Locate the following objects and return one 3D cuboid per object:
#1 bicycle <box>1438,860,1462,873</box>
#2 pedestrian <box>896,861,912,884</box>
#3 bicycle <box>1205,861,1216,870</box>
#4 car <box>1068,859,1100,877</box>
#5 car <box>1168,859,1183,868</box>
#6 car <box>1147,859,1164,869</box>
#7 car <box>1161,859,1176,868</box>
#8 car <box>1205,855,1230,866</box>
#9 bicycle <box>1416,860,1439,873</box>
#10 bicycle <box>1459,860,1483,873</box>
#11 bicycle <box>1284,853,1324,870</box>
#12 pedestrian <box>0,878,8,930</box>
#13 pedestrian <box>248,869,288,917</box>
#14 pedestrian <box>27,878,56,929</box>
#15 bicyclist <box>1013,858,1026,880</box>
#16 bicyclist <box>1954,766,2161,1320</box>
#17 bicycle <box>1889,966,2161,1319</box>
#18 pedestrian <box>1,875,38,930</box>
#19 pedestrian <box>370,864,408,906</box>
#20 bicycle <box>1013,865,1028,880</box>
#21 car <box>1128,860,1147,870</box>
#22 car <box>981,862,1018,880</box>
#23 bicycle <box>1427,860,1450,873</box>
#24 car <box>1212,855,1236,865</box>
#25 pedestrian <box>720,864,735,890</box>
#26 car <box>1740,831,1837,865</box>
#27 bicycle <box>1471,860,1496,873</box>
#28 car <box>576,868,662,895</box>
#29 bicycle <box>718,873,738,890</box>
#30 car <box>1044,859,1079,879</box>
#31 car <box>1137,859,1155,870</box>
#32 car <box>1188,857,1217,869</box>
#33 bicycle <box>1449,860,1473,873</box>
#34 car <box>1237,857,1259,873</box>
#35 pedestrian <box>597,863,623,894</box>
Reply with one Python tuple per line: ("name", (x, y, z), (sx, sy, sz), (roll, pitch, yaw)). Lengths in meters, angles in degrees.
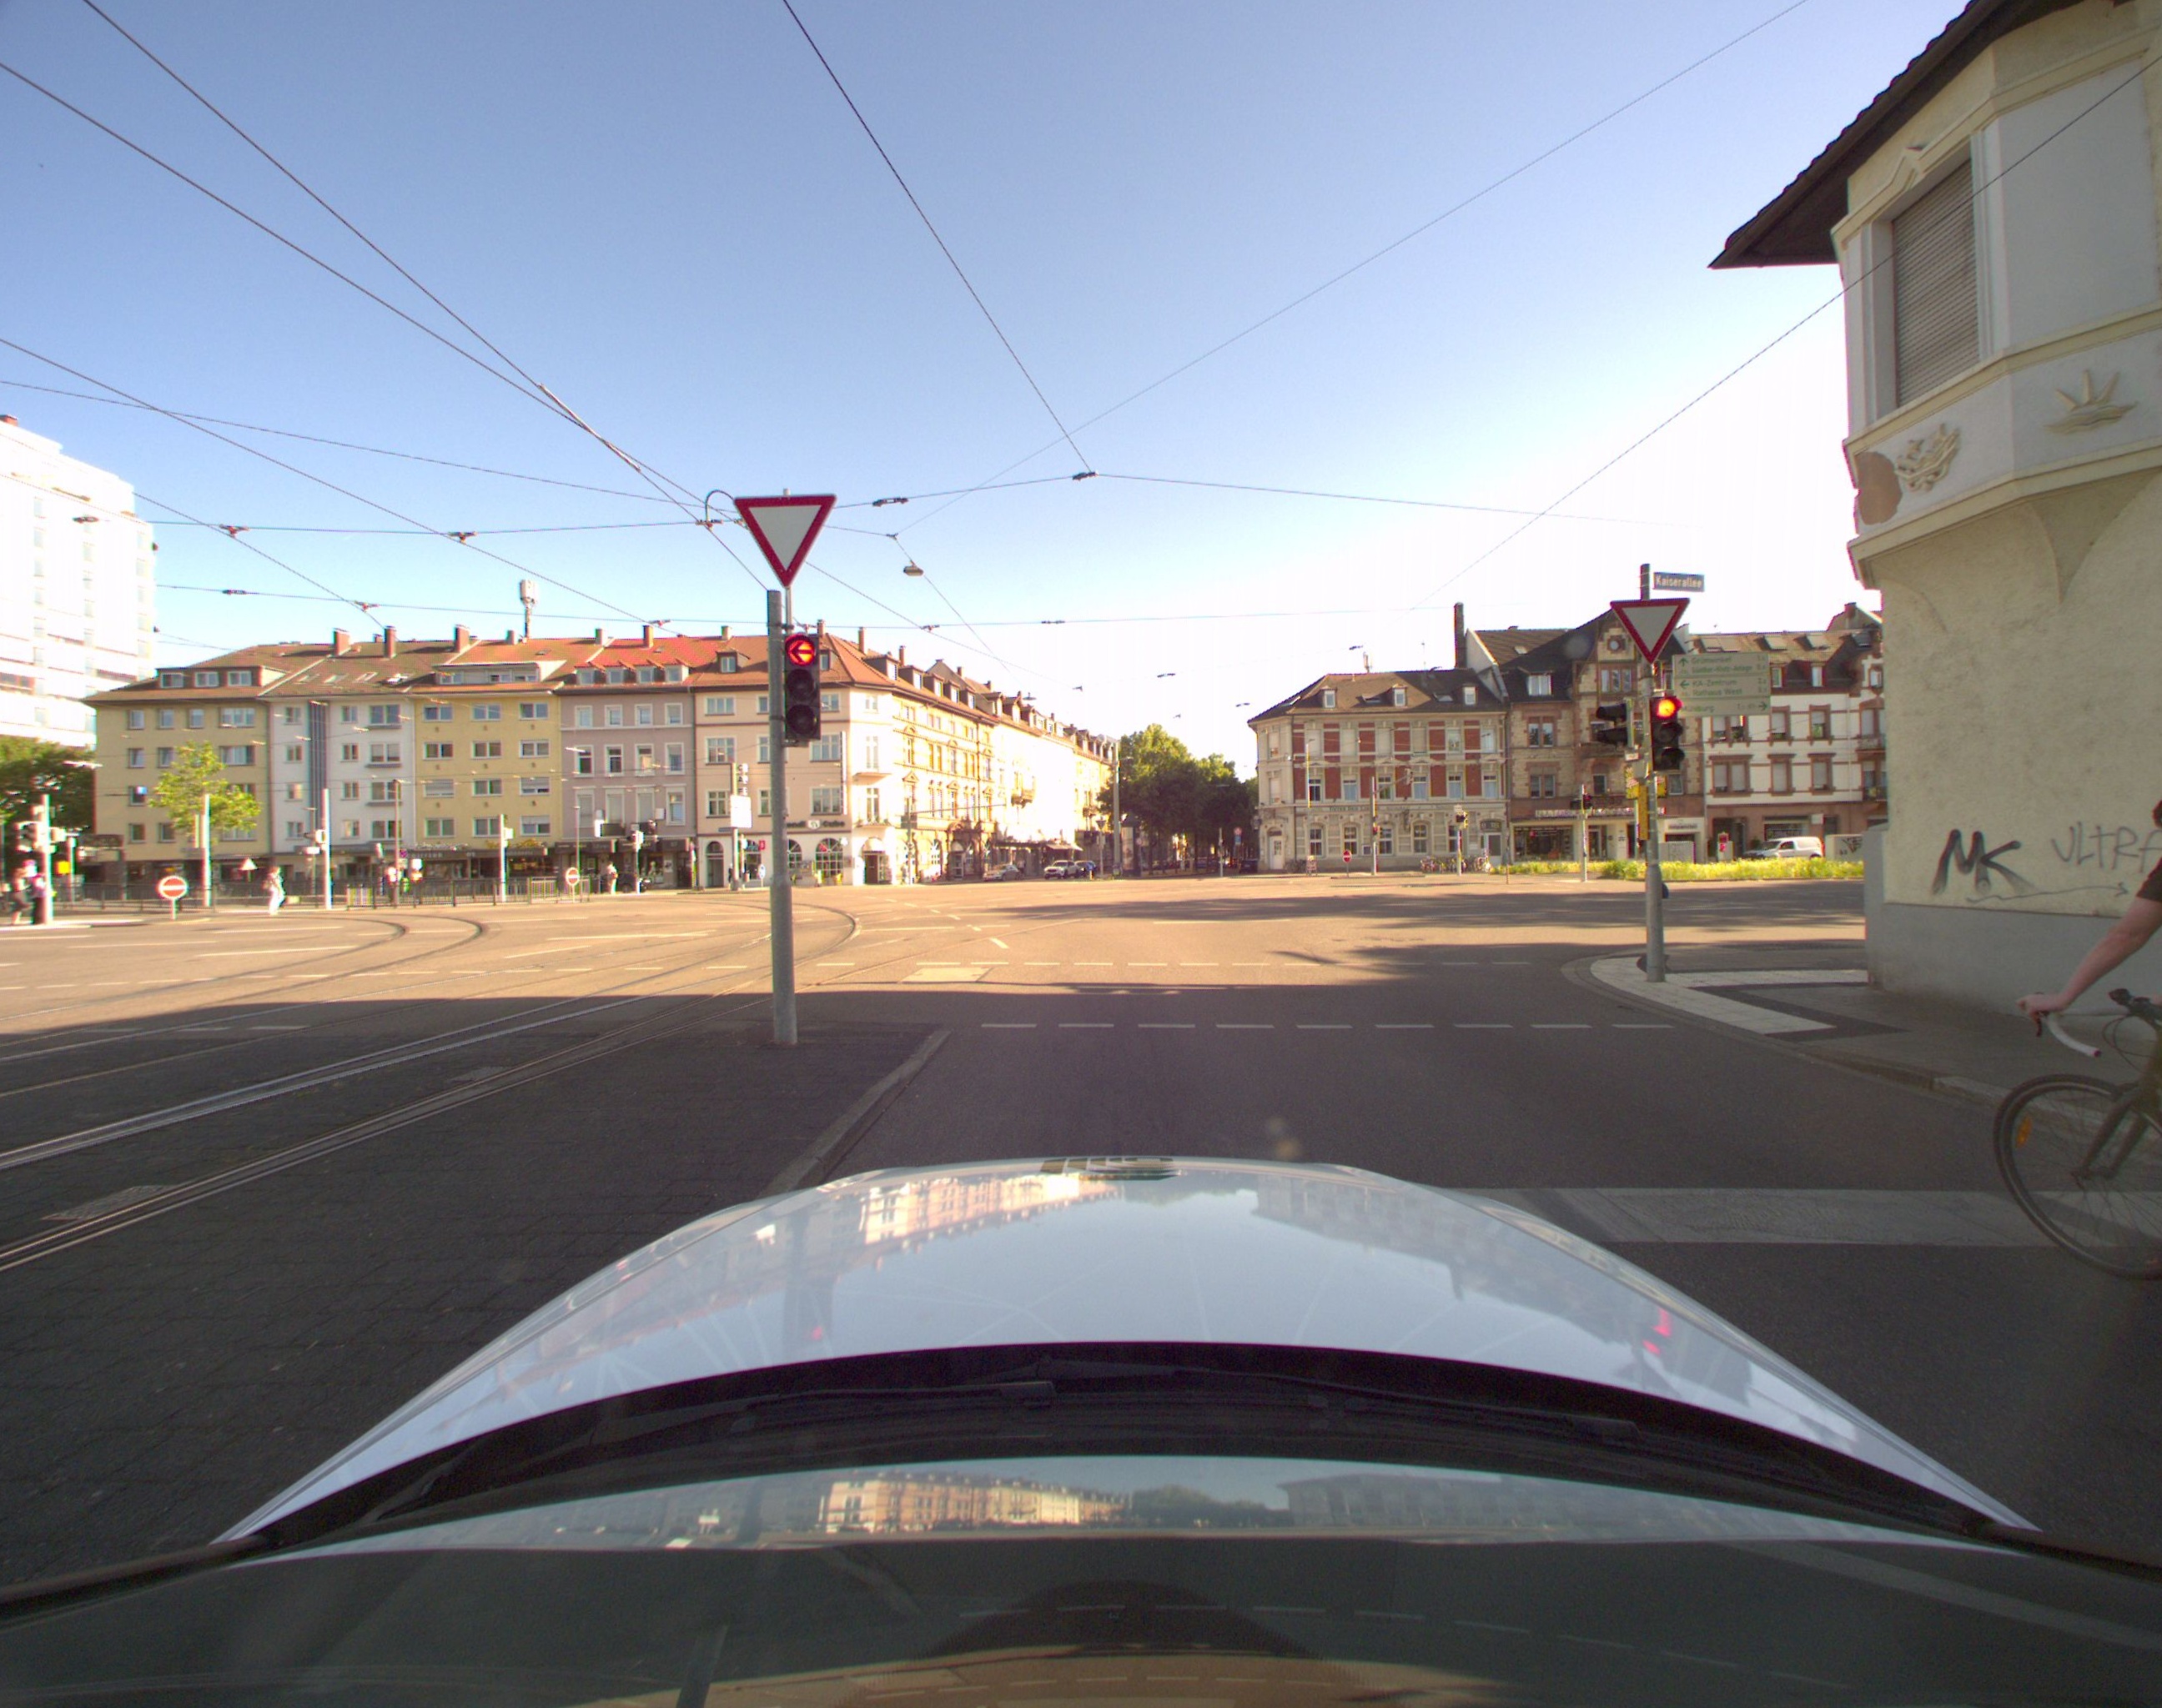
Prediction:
("bicycle", (23.893, 0.810, 52.749), (0.656, 0.840, 2.162), (0, -1, 3))
("pedestrian", (-12.817, 1.322, 58.923), (0.770, 1.670, 0.834), (-1, -1, 17))
("bicycle", (15.775, 1.387, 99.287), (0.636, 1.021, 1.839), (0, -1, -12))
("car", (0.315, 1.239, 73.776), (1.664, 1.483, 3.967), (-2, 0, 19))
("car", (15.724, 1.516, 135.609), (1.664, 1.354, 3.608), (-2, 0, 19))
("car", (11.247, 1.494, 122.371), (1.664, 1.354, 3.608), (-2, 0, 19))
("car", (14.038, 1.497, 130.616), (1.664, 1.354, 3.608), (-2, 0, 19))
("car", (21.453, 1.053, 127.729), (3.549, 1.648, 1.691), (-2, 0, 19))
("bicycle", (22.434, 0.821, 52.705), (0.656, 0.840, 2.162), (0, -1, 3))
("bicycle", (25.213, 0.800, 52.711), (0.656, 0.840, 2.162), (0, -1, 3))
("bicycle", (15.612, 0.497, 57.067), (2.547, 1.174, 0.818), (0, -1, -1))
("pedestrian", (-35.092, 1.613, 26.102), (0.753, 1.679, 0.561), (-2, 0, 11))
("pedestrian", (-27.696, 1.306, 27.735), (0.545, 1.577, 0.838), (-1, -1, 29))
("pedestrian", (-31.905, 1.500, 24.996), (0.456, 1.505, 0.485), (-1, 1, 38))
("bicyclist", (-4.933, 1.207, 65.421), (0.772, 1.803, 1.060), (-1, -1, 16))
("bicyclist", (3.586, 0.575, 2.507), (0.570, 1.701, 1.117), (-1, 0, 2))
("bicycle", (3.611, 0.957, 2.516), (0.516, 0.970, 1.750), (-1, 0, 2))
("pedestrian", (-32.910, 1.500, 25.245), (0.456, 1.644, 0.643), (-1, 1, 38))
("pedestrian", (-26.657, 1.176, 31.379), (0.720, 1.577, 0.836), (-1, -1, 11))
("bicycle", (-4.886, 1.482, 65.541), (0.696, 1.118, 1.642), (-1, -1, 16))
("car", (7.704, 1.485, 111.330), (1.664, 1.354, 3.608), (-2, 0, 19))
("car", (-6.702, 1.423, 67.232), (1.664, 1.354, 3.608), (-2, 0, 19))
("bicycle", (23.169, 0.816, 52.763), (0.656, 0.840, 2.162), (0, -1, 3))
("car", (23.359, 0.960, 133.162), (3.549, 1.648, 1.691), (-2, 0, 19))
("pedestrian", (-22.975, 1.505, 52.949), (0.580, 1.670, 0.753), (0, -1, 2))
("car", (45.451, -0.388, 52.411), (4.406, 2.013, 2.002), (-1, 0, 4))
("bicycle", (26.017, 0.794, 52.725), (0.656, 0.840, 2.162), (0, -1, 3))
("car", (-30.357, 1.790, 53.642), (4.347, 1.711, 2.308), (0, -1, 4))
("bicycle", (-22.973, 1.800, 52.987), (0.570, 1.077, 1.497), (0, -1, 2))
("car", (-1.597, 1.212, 67.517), (1.664, 1.483, 3.789), (-2, 0, 19))
("car", (9.178, 1.488, 115.454), (1.664, 1.354, 3.608), (-2, 0, 19))
("car", (17.209, 1.252, 115.462), (3.870, 1.648, 1.691), (-2, 0, 19))
("bicycle", (24.576, 0.805, 52.756), (0.656, 0.840, 2.162), (0, -1, 3))
("car", (16.911, 1.093, 82.342), (1.664, 1.483, 3.967), (-2, 0, 19))
("pedestrian", (-24.606, 1.287, 42.539), (0.842, 1.577, 0.836), (-1, -1, 11))
